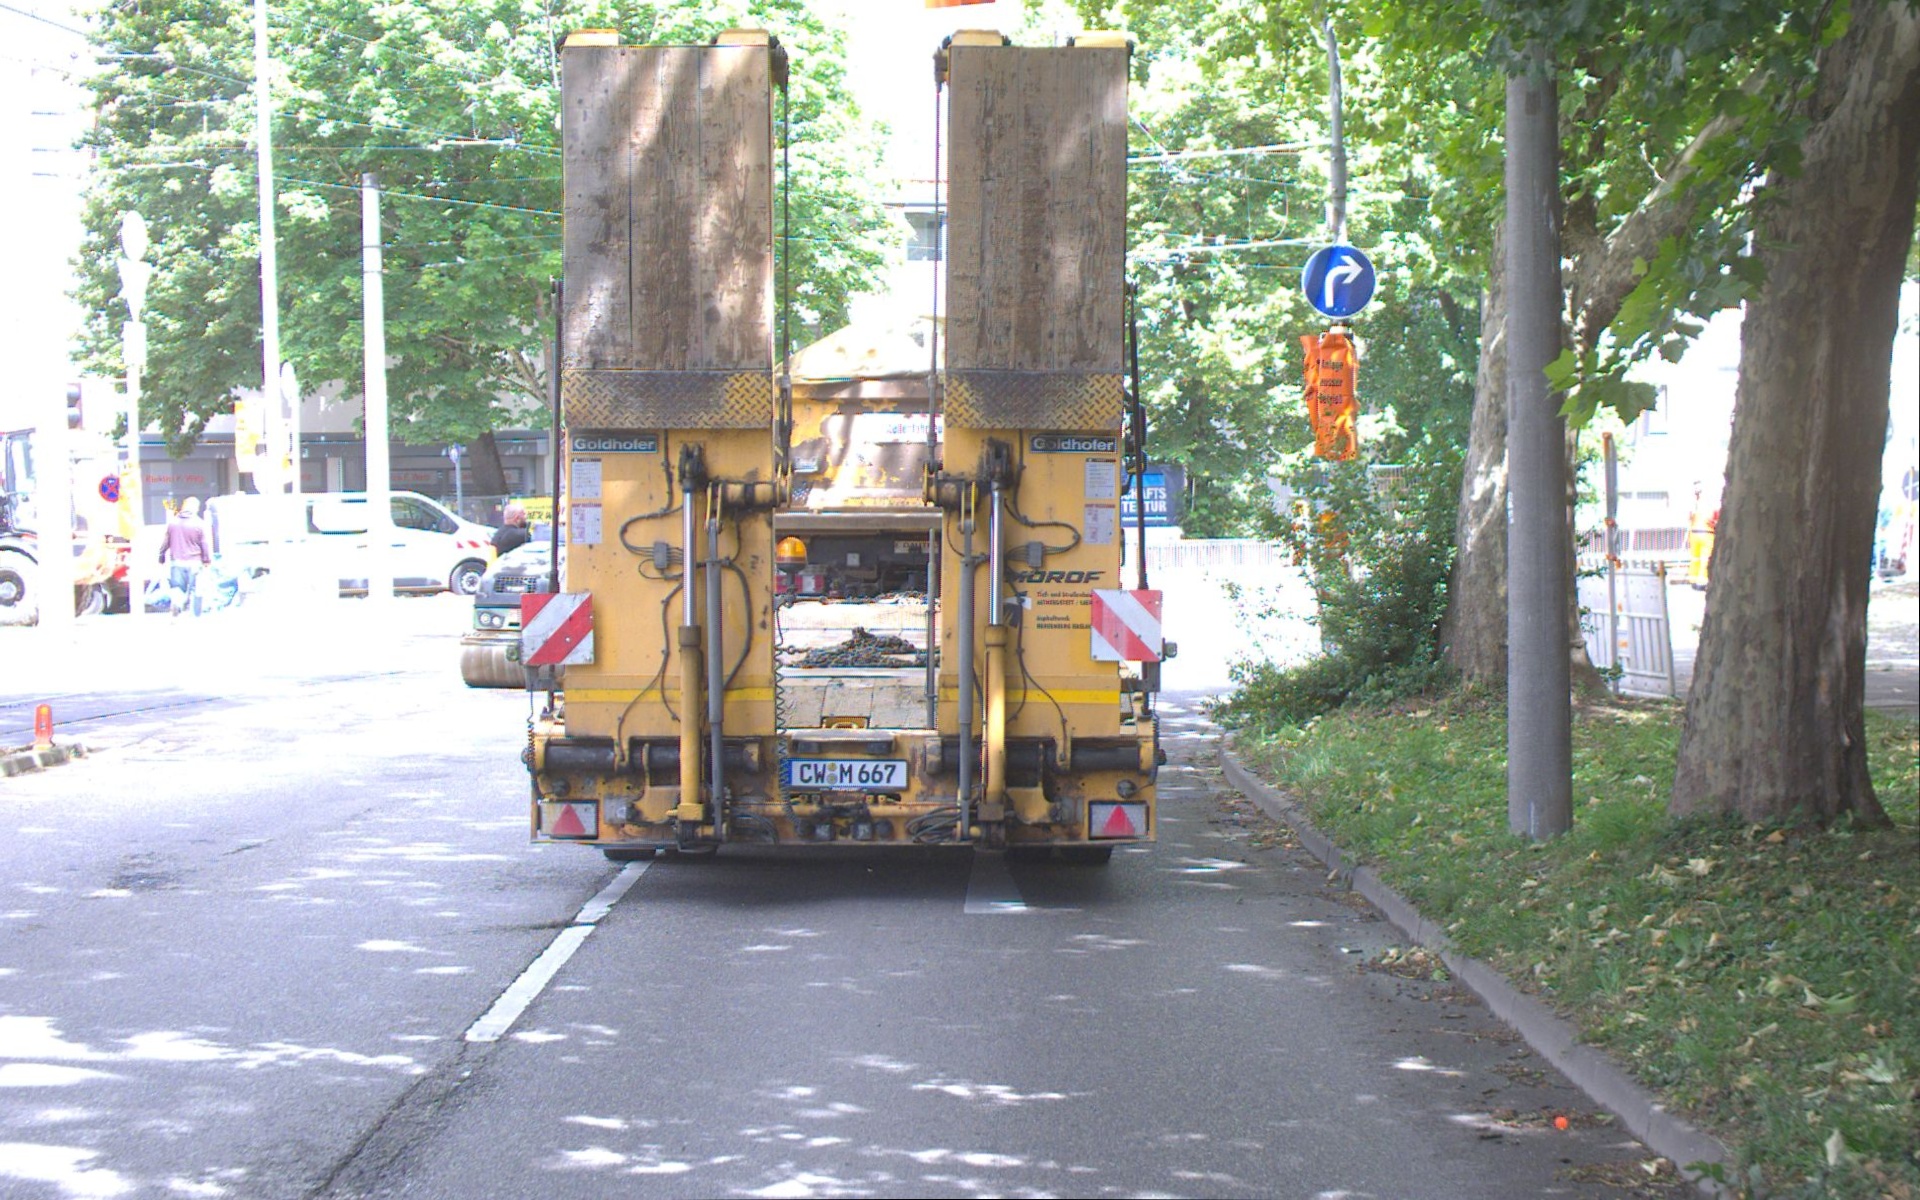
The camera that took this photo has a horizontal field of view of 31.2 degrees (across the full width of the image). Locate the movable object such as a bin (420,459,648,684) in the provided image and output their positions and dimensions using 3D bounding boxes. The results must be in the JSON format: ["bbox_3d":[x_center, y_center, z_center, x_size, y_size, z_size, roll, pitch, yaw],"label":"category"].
[{"bbox_3d":[-3.949,-0.288,32.156,1.399,2.007,2.555,1,1,11],"label":"movable object such as a bin"}]

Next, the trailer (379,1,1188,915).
[{"bbox_3d":[-0.452,-0.657,18.942,3.154,3.540,11.096,0,1,3],"label":"trailer"}]

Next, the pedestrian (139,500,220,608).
[{"bbox_3d":[-10.203,-0.607,44.976,0.916,1.404,0.753,0,1,-2],"label":"pedestrian"}]

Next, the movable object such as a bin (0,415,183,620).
[{"bbox_3d":[-12.831,-1.100,45.916,4.373,2.620,2.217,1,1,26],"label":"movable object such as a bin"}]

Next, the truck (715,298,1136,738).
[{"bbox_3d":[-0.086,-0.659,28.387,2.989,3.124,7.887,0,1,2],"label":"truck"}]

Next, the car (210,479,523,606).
[{"bbox_3d":[-10.078,-0.977,58.245,5.088,2.095,1.977,0,1,-14],"label":"car"}]
